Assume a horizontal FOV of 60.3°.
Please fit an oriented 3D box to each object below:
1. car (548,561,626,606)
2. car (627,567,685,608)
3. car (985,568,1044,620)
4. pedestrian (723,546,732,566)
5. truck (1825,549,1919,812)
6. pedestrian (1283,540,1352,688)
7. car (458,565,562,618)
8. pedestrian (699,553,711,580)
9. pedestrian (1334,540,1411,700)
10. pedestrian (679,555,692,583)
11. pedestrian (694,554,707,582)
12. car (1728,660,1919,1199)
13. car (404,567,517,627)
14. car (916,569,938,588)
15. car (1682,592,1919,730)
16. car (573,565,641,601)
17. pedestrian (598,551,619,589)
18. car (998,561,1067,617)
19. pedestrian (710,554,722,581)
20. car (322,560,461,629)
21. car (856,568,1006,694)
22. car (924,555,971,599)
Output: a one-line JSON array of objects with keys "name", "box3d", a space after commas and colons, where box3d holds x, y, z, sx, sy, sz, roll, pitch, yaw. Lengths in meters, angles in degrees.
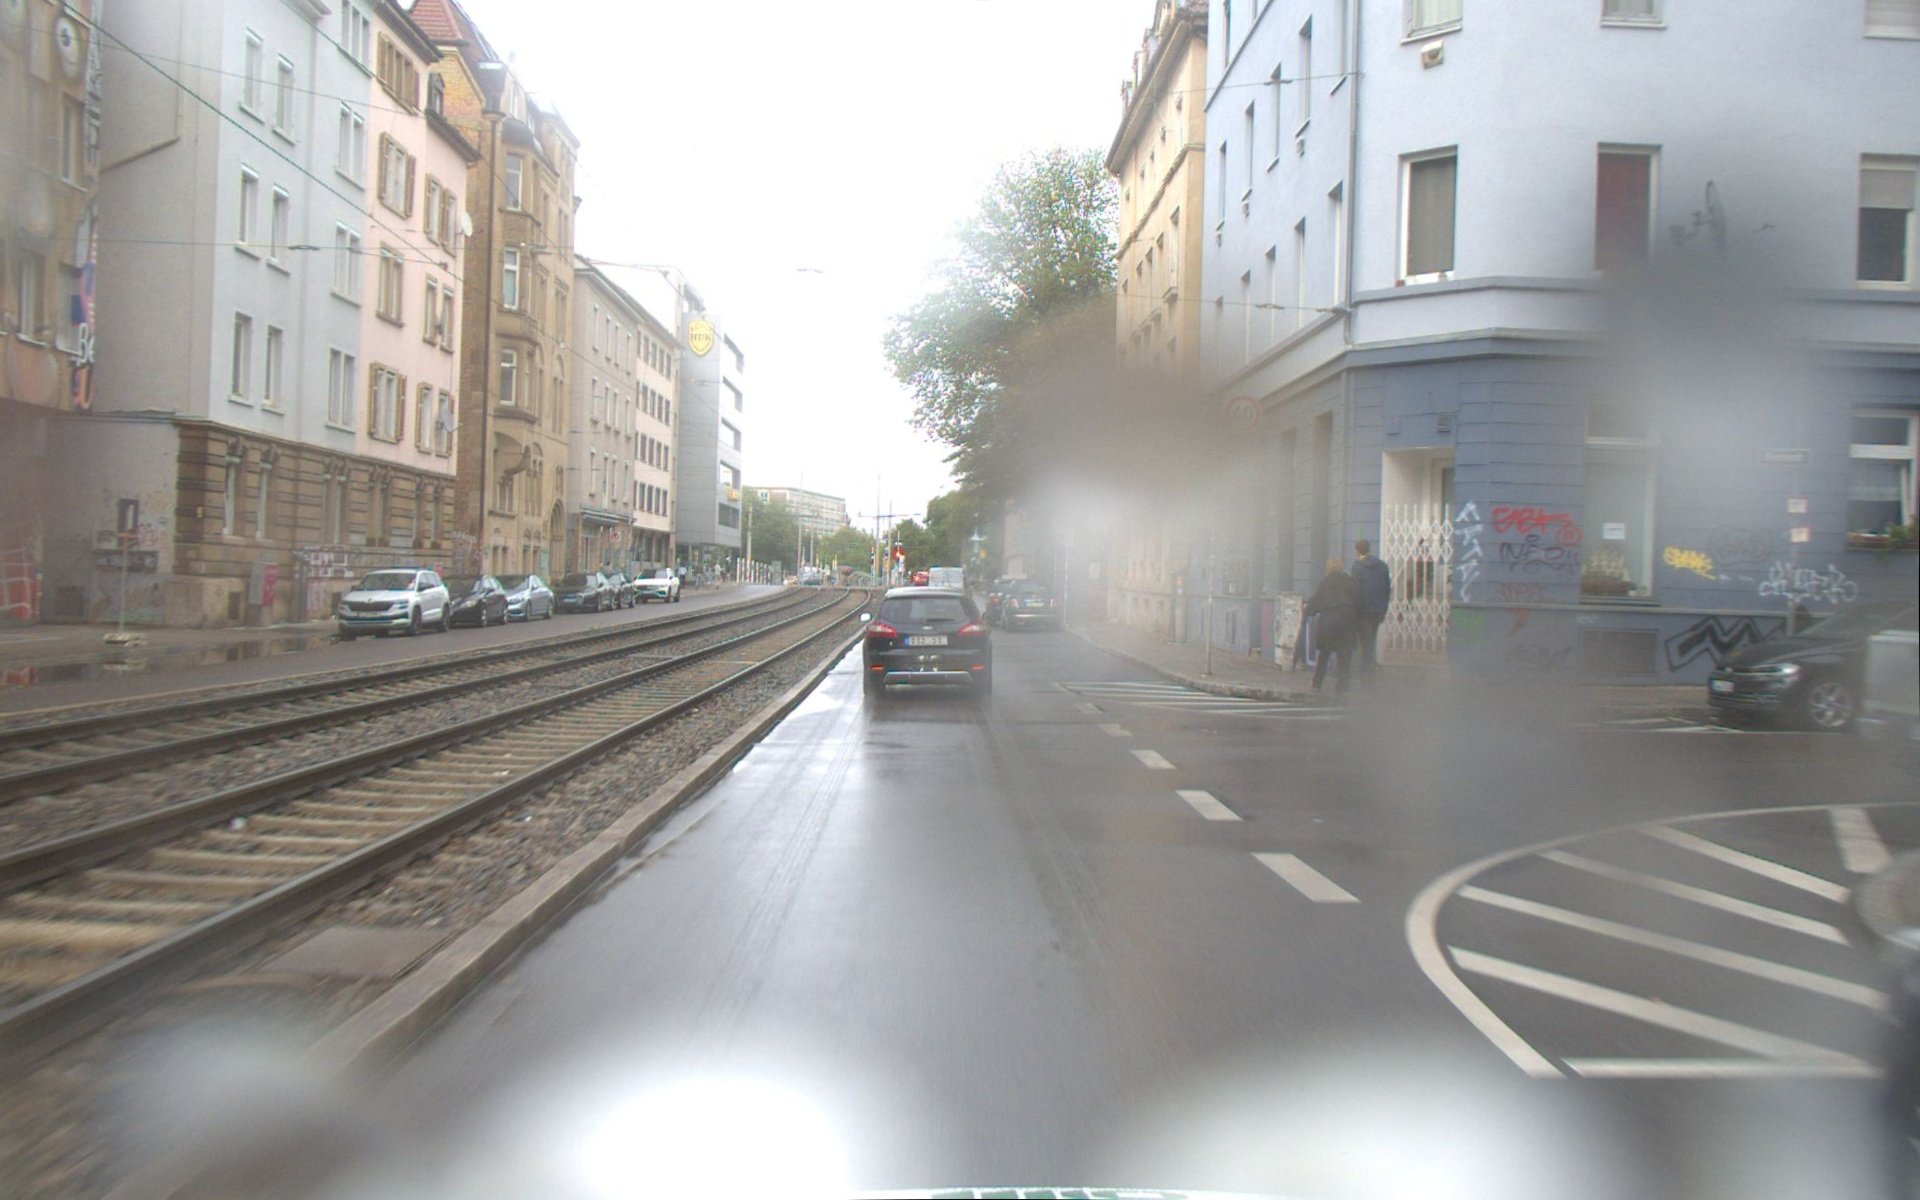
[{"name": "car", "box3d": [-14.081, -0.645, 62.716, 1.953, 1.545, 4.675, 2, 1, -1]}, {"name": "car", "box3d": [-14.698, -0.634, 80.210, 1.953, 1.871, 5.069, 2, 1, -2]}, {"name": "car", "box3d": [1.736, -0.220, 53.780, 1.609, 1.542, 4.038, 2, 2, -2]}, {"name": "pedestrian", "box3d": [-21.893, -4.111, 155.503, 0.729, 1.886, 0.839, 1, 0, -2]}, {"name": "truck", "box3d": [9.210, 0.595, 11.869, 4.959, 1.850, 2.082, 1, 1, -4]}, {"name": "pedestrian", "box3d": [4.683, 0.165, 21.681, 0.648, 1.884, 0.821, 2, 1, -2]}, {"name": "car", "box3d": [-14.102, -0.299, 52.097, 1.953, 1.545, 4.991, 2, 1, -1]}, {"name": "pedestrian", "box3d": [-18.209, -2.371, 118.158, 0.729, 1.886, 0.839, 1, 0, -2]}, {"name": "pedestrian", "box3d": [5.413, 0.248, 21.764, 0.721, 2.048, 0.821, 2, 1, -2]}, {"name": "pedestrian", "box3d": [-18.541, -2.106, 111.730, 0.729, 1.886, 0.839, 1, 0, -2]}, {"name": "pedestrian", "box3d": [-17.587, -2.146, 111.982, 0.729, 1.886, 0.839, 1, 0, -2]}, {"name": "car", "box3d": [2.914, 1.018, 2.279, 1.685, 1.542, 4.259, 2, 2, 0]}, {"name": "car", "box3d": [-14.031, -0.117, 46.691, 1.953, 1.545, 4.208, 2, 1, -1]}, {"name": "car", "box3d": [-2.931, -1.911, 148.046, 1.953, 1.621, 4.271, 1, 0, -1]}, {"name": "car", "box3d": [10.664, 0.679, 19.045, 3.905, 1.455, 1.787, 1, 1, 1]}, {"name": "car", "box3d": [-14.573, -0.721, 68.497, 1.953, 1.400, 4.237, 2, 1, -1]}, {"name": "pedestrian", "box3d": [-17.074, -1.462, 80.327, 0.785, 1.780, 0.984, 2, 1, -2]}, {"name": "car", "box3d": [2.109, -0.354, 49.073, 1.704, 1.515, 3.999, 2, 2, -2]}, {"name": "pedestrian", "box3d": [-17.449, -2.311, 118.165, 0.729, 1.886, 0.839, 1, 0, -2]}, {"name": "car", "box3d": [-13.978, -0.159, 40.957, 1.953, 1.545, 4.434, 2, 1, -1]}, {"name": "car", "box3d": [-0.402, 0.396, 23.904, 1.953, 1.621, 4.271, 1, 0, -1]}, {"name": "car", "box3d": [-0.562, -0.986, 72.200, 1.953, 1.848, 4.271, 1, 0, -1]}]
